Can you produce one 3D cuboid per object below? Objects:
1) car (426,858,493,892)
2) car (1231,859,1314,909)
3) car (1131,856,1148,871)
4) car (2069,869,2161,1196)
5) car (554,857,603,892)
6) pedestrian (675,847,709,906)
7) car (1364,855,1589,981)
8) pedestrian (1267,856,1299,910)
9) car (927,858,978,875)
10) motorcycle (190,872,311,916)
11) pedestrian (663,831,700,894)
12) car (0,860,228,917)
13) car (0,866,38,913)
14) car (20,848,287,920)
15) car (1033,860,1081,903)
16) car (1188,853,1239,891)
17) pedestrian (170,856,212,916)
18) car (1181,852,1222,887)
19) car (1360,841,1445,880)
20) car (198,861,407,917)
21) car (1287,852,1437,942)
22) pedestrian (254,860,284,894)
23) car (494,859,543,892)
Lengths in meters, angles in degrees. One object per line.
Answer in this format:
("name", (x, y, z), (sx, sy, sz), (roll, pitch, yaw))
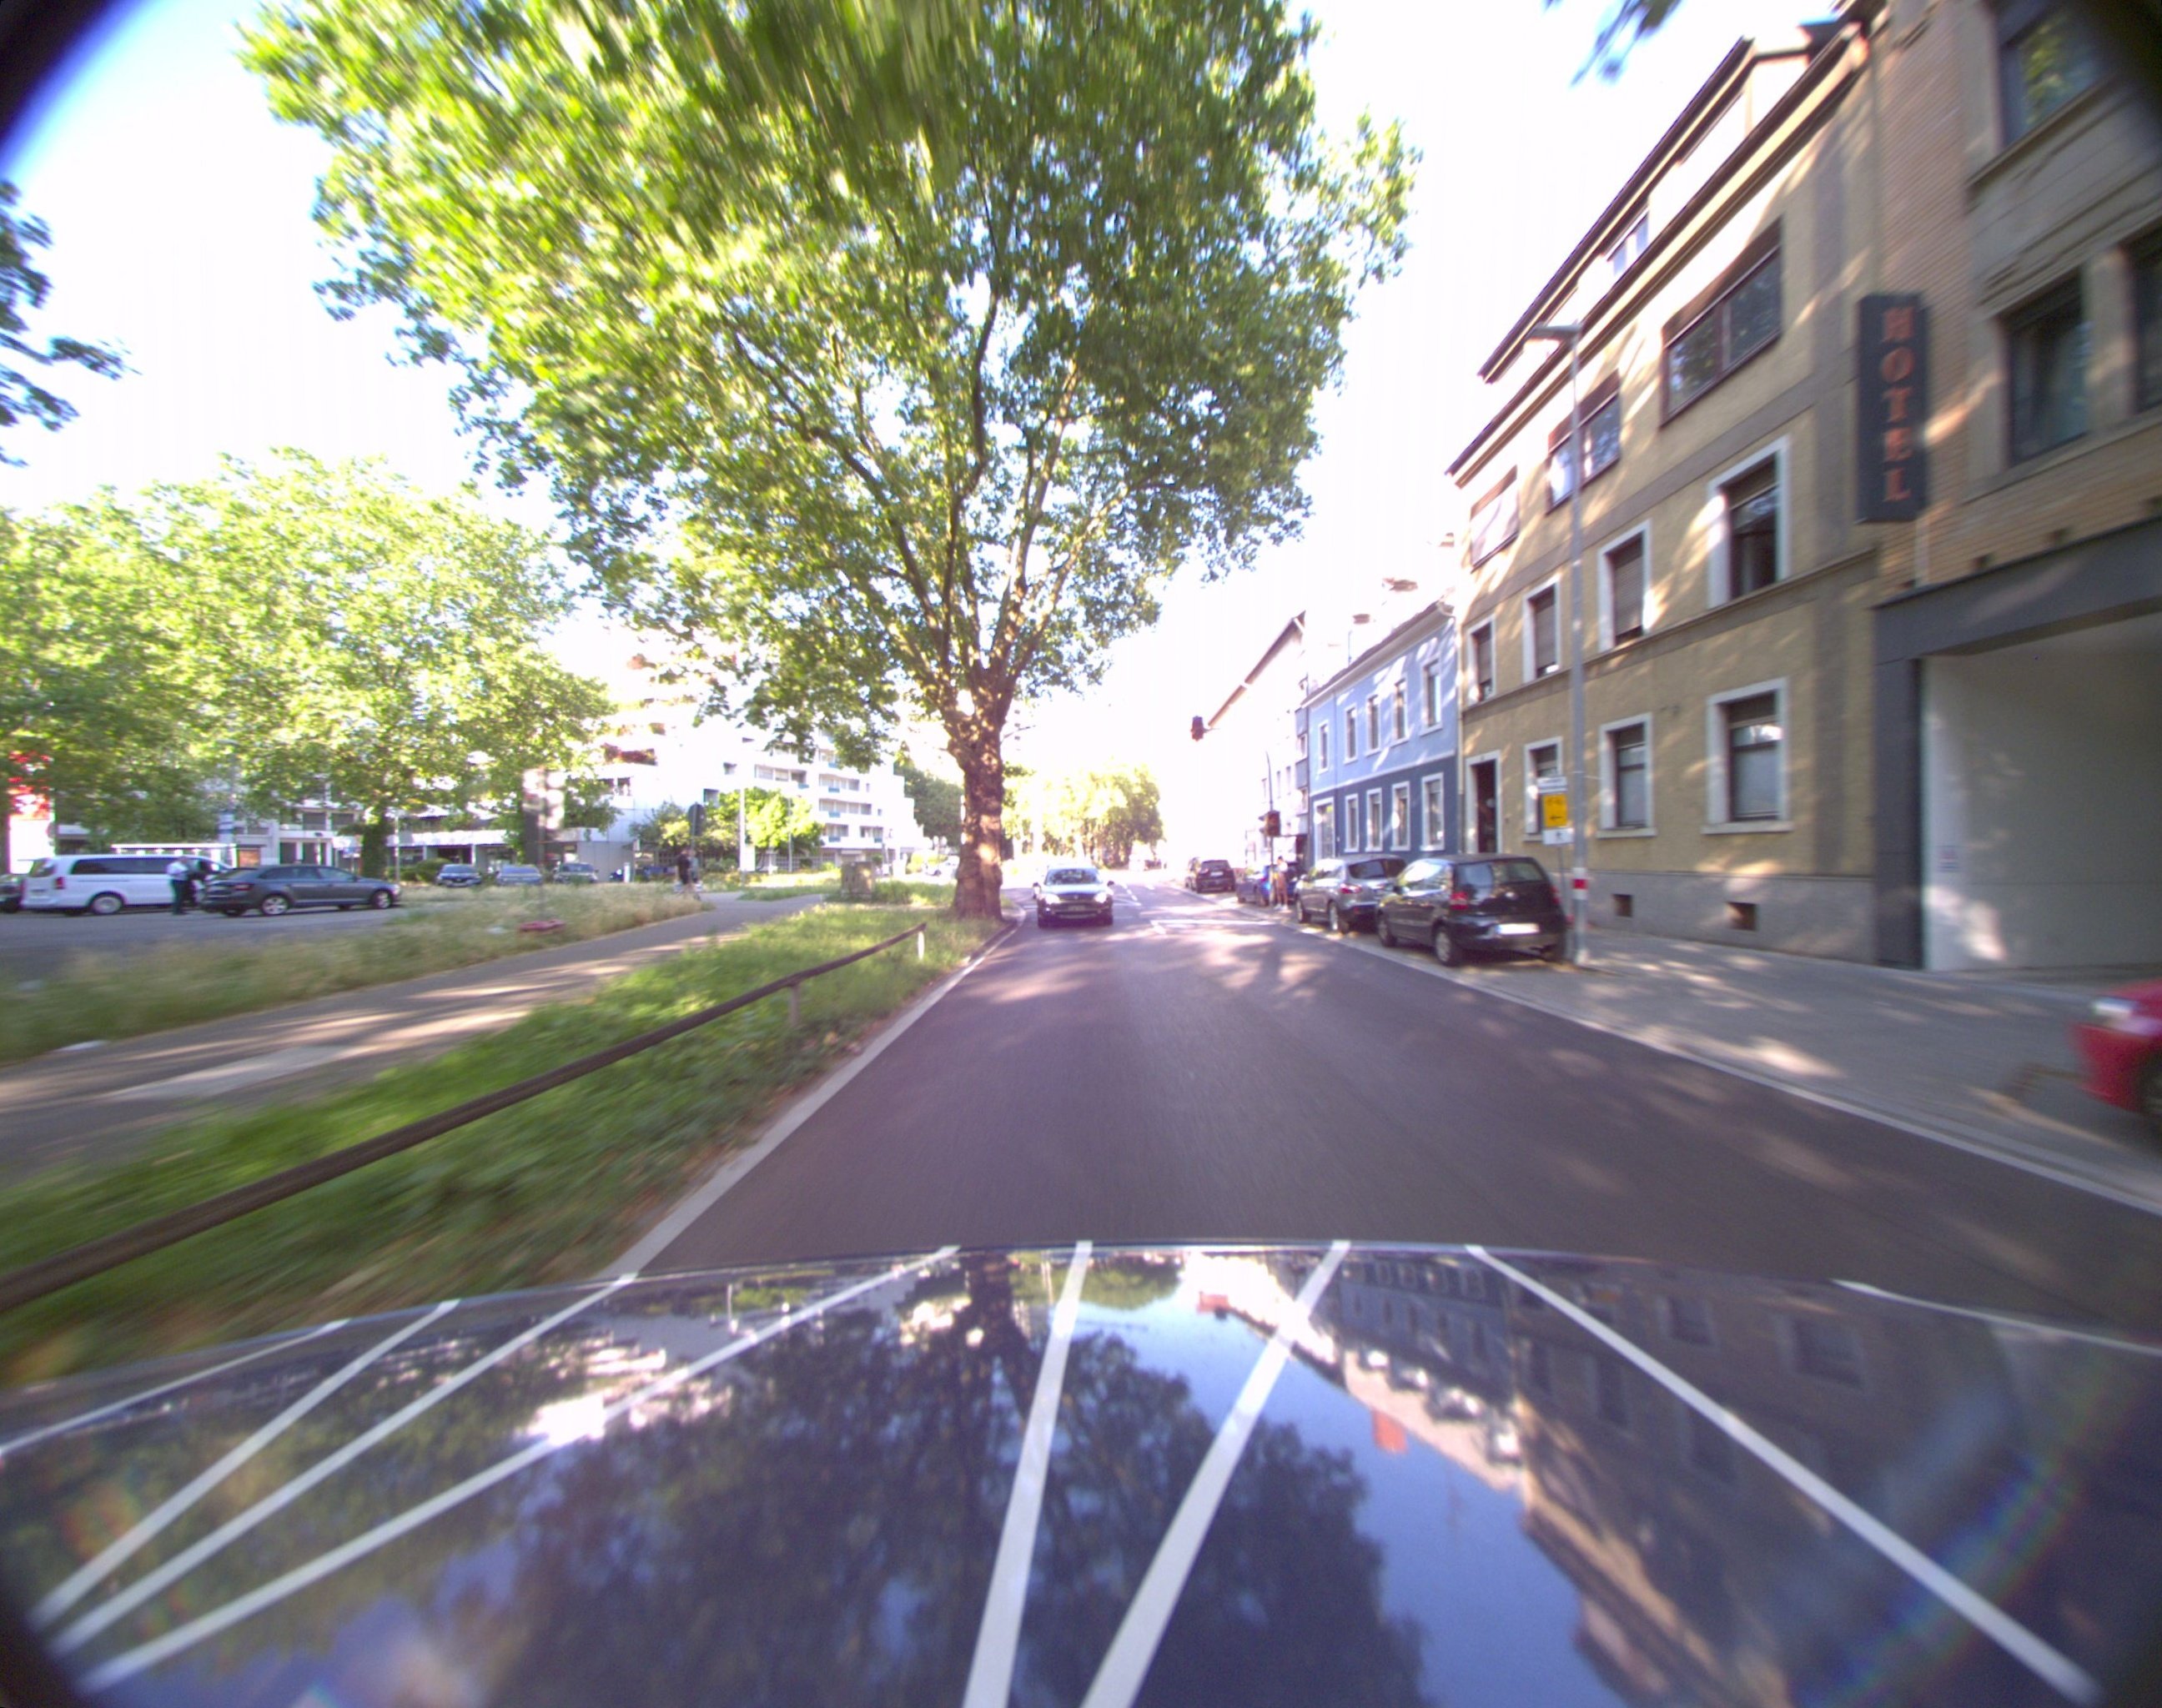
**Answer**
("car", (-31.269, 1.111, 38.338), (1.876, 1.628, 3.992), (1, -3, -28))
("car", (6.429, 0.969, 25.928), (1.654, 1.478, 4.262), (-2, 0, -1))
("car", (7.000, 1.154, 91.188), (1.898, 1.782, 4.001), (0, 0, 2))
("car", (6.087, 0.854, 2.154), (1.682, 1.583, 3.756), (-2, 0, 1))
("car", (-25.832, 1.091, 39.027), (1.942, 1.649, 4.468), (2, -4, -35))
("pedestrian", (-12.548, 0.710, 24.542), (0.785, 1.869, 0.802), (-1, 0, -12))
("car", (5.894, 0.852, 11.859), (1.681, 1.595, 3.706), (-2, 0, 3))
("pedestrian", (5.975, 0.853, 22.530), (0.864, 1.561, 0.706), (0, 0, 10))
("car", (-11.815, 1.133, 69.873), (4.211, 1.502, 1.797), (0, 0, -25))
("motorcycle", (-25.473, 1.202, 23.375), (0.950, 1.241, 2.319), (0, 0, 13))
("pedestrian", (-12.306, 0.258, 23.428), (0.839, 1.921, 0.781), (-1, 0, -15))
("car", (-32.955, 1.203, 25.937), (1.997, 1.764, 4.642), (-1, -3, 17))
("car", (-41.650, 1.252, 27.295), (2.000, 1.764, 4.634), (0, -3, -3))
("car", (-29.880, 1.011, 24.791), (1.997, 2.083, 5.061), (-1, -3, 17))
("car", (-0.853, 0.977, 28.378), (1.654, 1.445, 3.535), (-1, 0, 0))
("car", (6.253, 0.813, 36.388), (1.910, 1.663, 4.494), (-2, 0, 4))
("pedestrian", (-26.321, 0.948, 22.480), (0.560, 1.741, 0.532), (-1, 2, 11))
("car", (6.565, 0.819, 41.792), (1.668, 1.808, 4.005), (-2, 0, 2))
("car", (14.072, 0.271, 33.511), (1.844, 1.536, 4.524), (-2, 0, 1))
("car", (-22.702, 1.045, 22.401), (1.673, 1.513, 3.993), (0, -3, 12))
("car", (6.008, 0.838, 16.805), (1.786, 1.663, 4.156), (-2, 0, 1))
("pedestrian", (-39.440, 1.118, 36.912), (0.744, 1.652, 0.630), (0, 0, -15))
("car", (-28.629, 1.149, 38.783), (1.832, 1.577, 4.359), (2, -4, -35))
